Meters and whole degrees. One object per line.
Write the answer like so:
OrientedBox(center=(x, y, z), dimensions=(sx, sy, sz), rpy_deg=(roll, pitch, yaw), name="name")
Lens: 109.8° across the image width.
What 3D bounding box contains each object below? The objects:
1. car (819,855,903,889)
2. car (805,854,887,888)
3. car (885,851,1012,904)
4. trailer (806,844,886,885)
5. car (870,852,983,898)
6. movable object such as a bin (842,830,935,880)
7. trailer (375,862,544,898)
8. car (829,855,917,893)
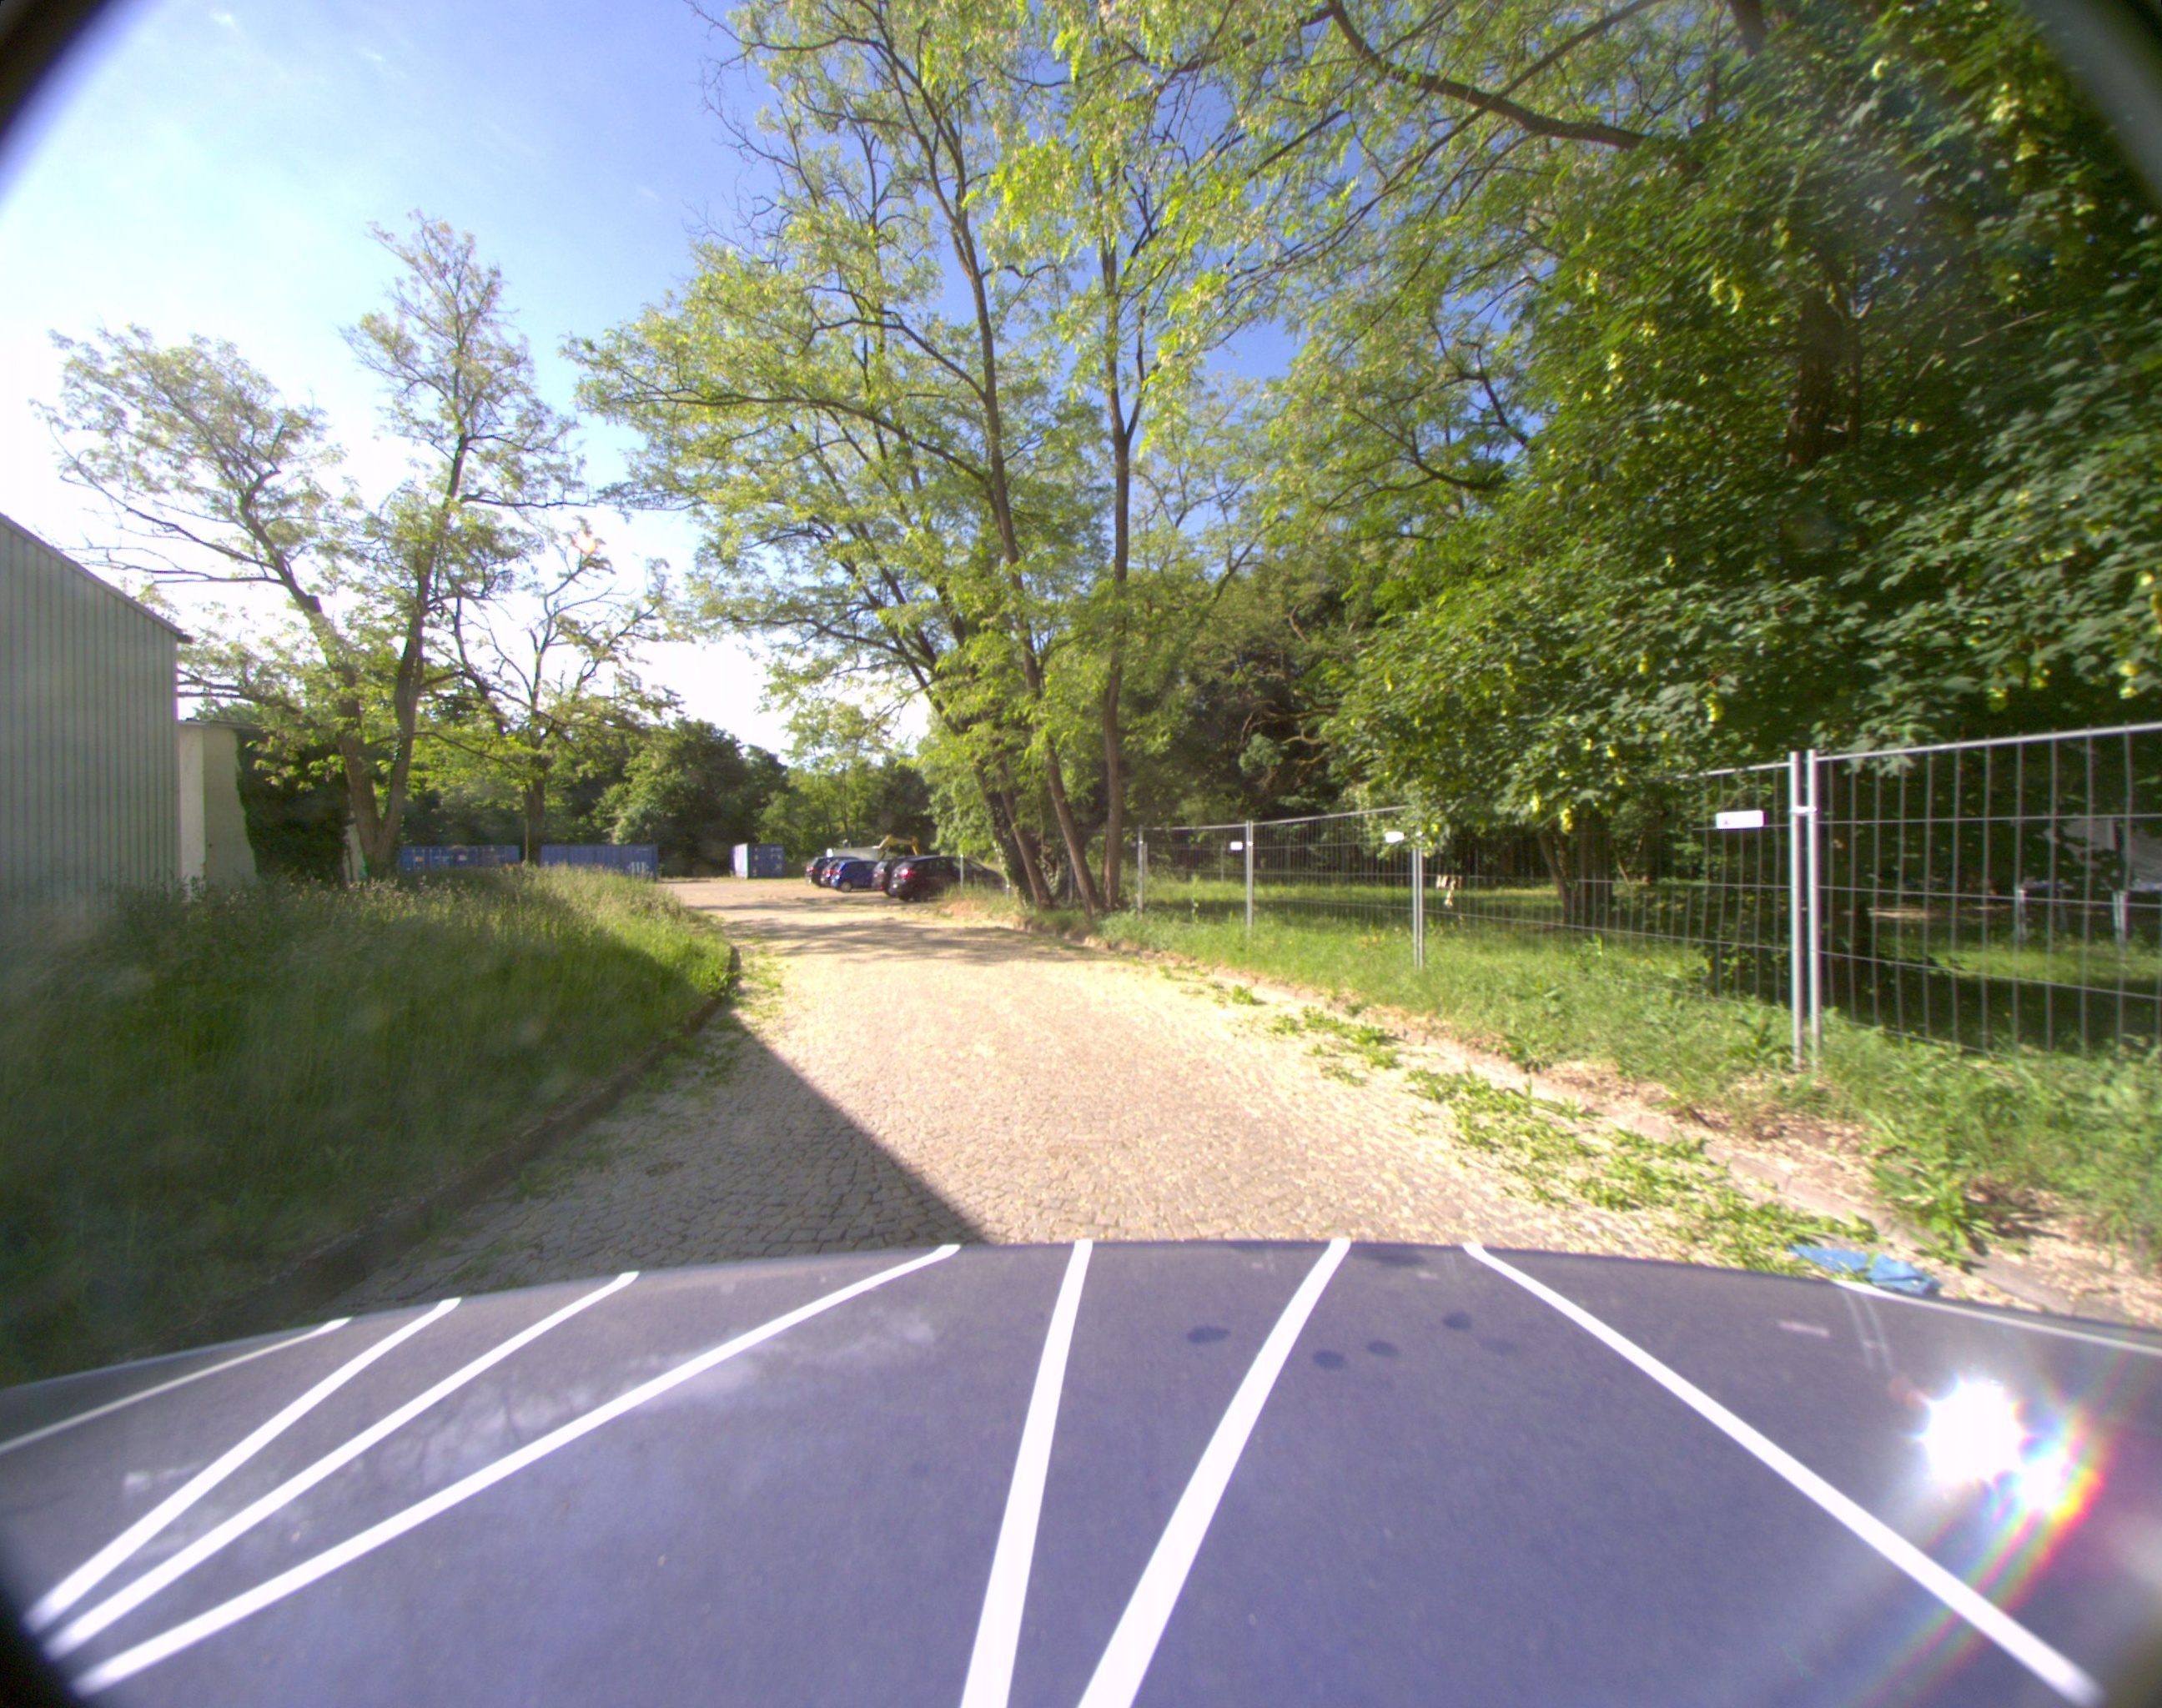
OrientedBox(center=(-11.023, 0.869, 38.145), dimensions=(3.668, 1.443, 1.830), rpy_deg=(-3, 2, -29), name="car")
OrientedBox(center=(-12.407, 0.865, 40.161), dimensions=(3.825, 1.632, 1.864), rpy_deg=(-2, 1, -27), name="car")
OrientedBox(center=(-4.977, 0.831, 28.712), dimensions=(4.307, 1.643, 1.789), rpy_deg=(-4, 2, -34), name="car")
OrientedBox(center=(-13.285, 0.572, 42.992), dimensions=(3.978, 2.082, 1.635), rpy_deg=(-3, 1, -28), name="trailer")
OrientedBox(center=(-6.421, 0.824, 31.611), dimensions=(4.196, 1.647, 1.813), rpy_deg=(-3, 1, -30), name="car")
OrientedBox(center=(-11.826, 0.046, 46.719), dimensions=(5.171, 2.949, 1.996), rpy_deg=(-1, 1, -24), name="movable object such as a bin")
OrientedBox(center=(-32.766, 1.301, 40.421), dimensions=(6.502, 1.509, 2.848), rpy_deg=(-2, 2, -29), name="trailer")
OrientedBox(center=(-9.809, 0.914, 35.835), dimensions=(3.668, 1.485, 1.711), rpy_deg=(-4, 2, -26), name="car")
